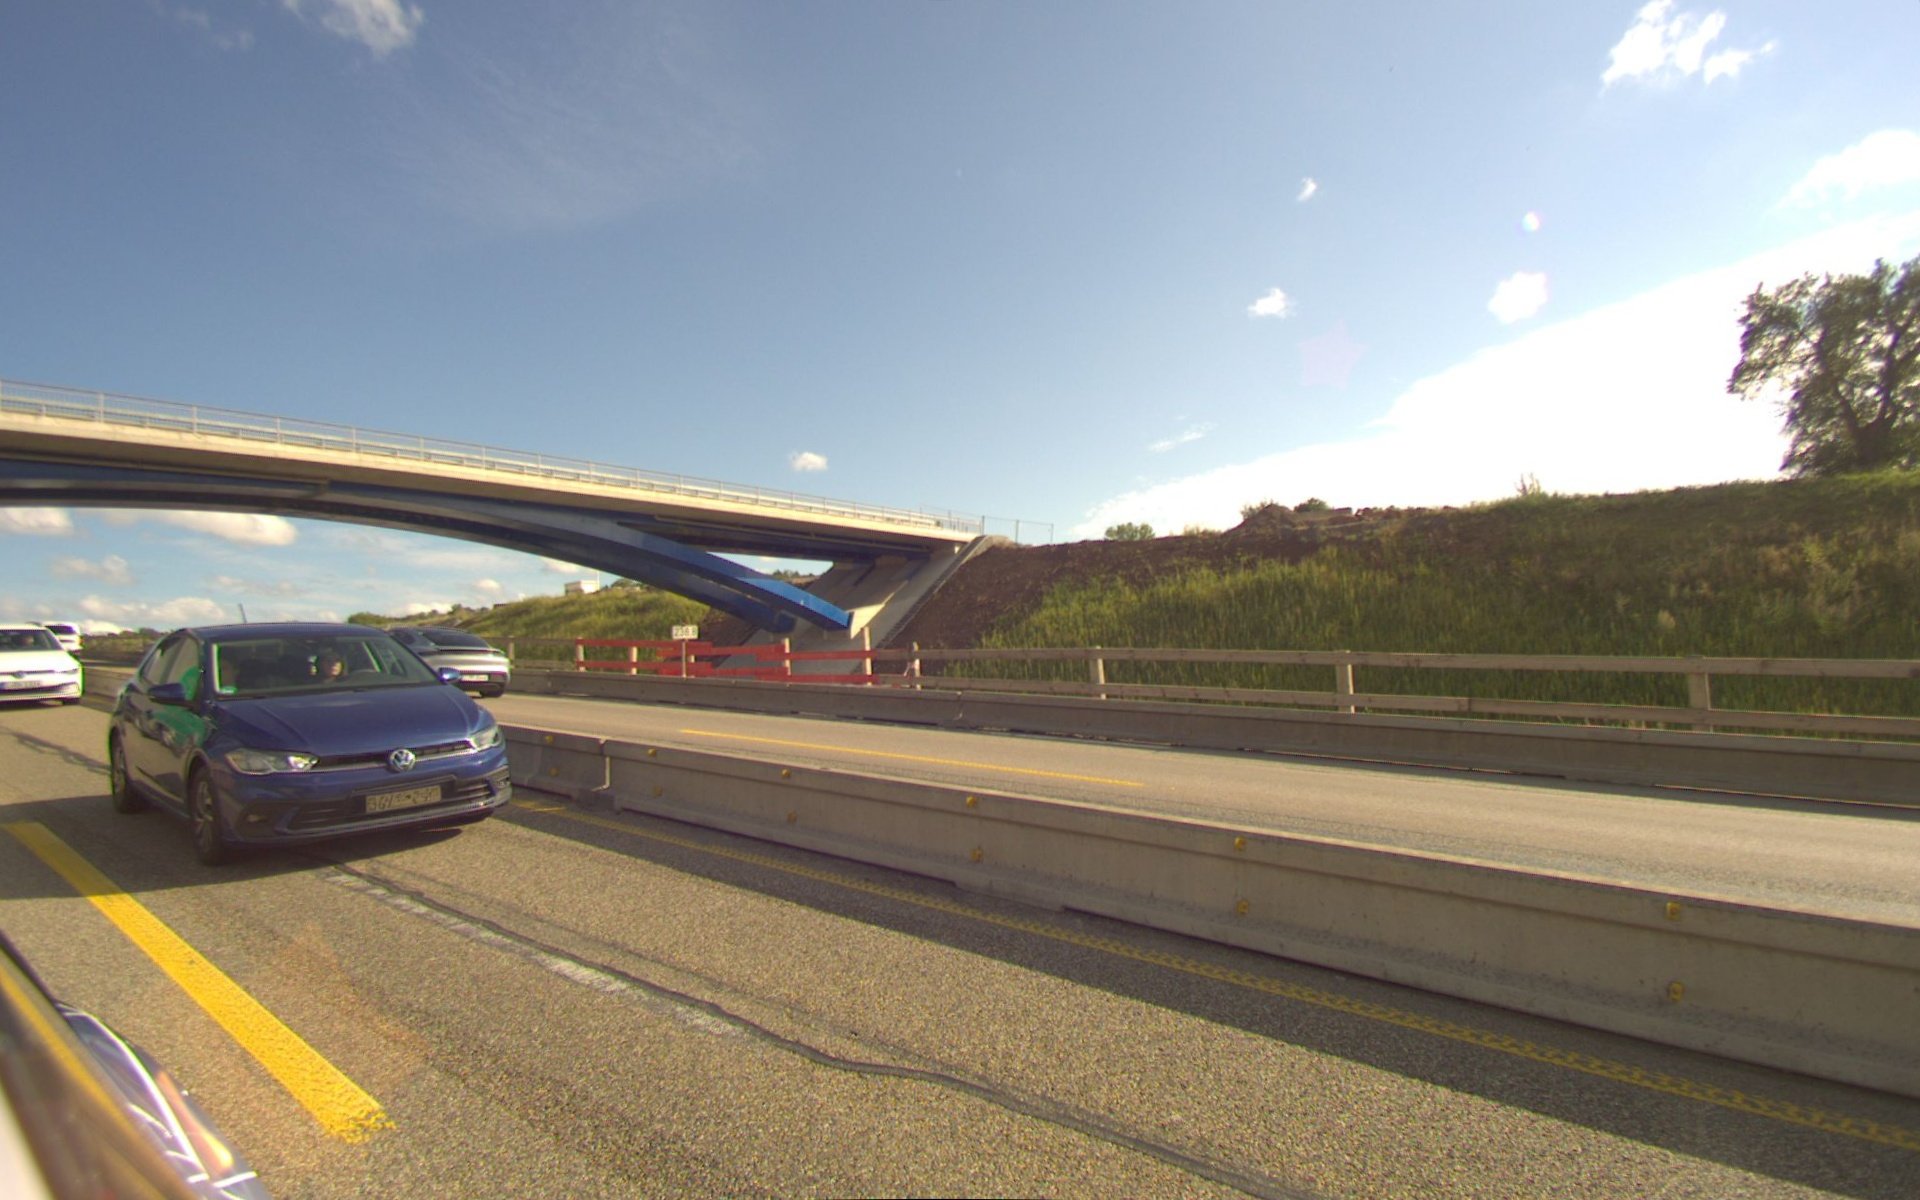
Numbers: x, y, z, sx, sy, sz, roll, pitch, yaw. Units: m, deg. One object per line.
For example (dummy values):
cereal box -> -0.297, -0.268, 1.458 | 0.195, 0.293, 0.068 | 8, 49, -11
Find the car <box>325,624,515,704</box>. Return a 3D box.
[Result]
car -> -10.936, 1.229, 20.353 | 4.624, 1.436, 1.716 | -1, -4, 40

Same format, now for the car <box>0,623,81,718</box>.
car -> -17.009, 1.184, 17.817 | 4.373, 1.507, 1.801 | -1, -1, 42

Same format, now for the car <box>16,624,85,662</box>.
car -> -42.782, 2.043, 47.566 | 4.213, 1.672, 1.716 | -2, -5, 39

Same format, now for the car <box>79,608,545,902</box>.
car -> -4.782, 0.850, 7.237 | 3.997, 1.519, 1.697 | -1, -1, 40
